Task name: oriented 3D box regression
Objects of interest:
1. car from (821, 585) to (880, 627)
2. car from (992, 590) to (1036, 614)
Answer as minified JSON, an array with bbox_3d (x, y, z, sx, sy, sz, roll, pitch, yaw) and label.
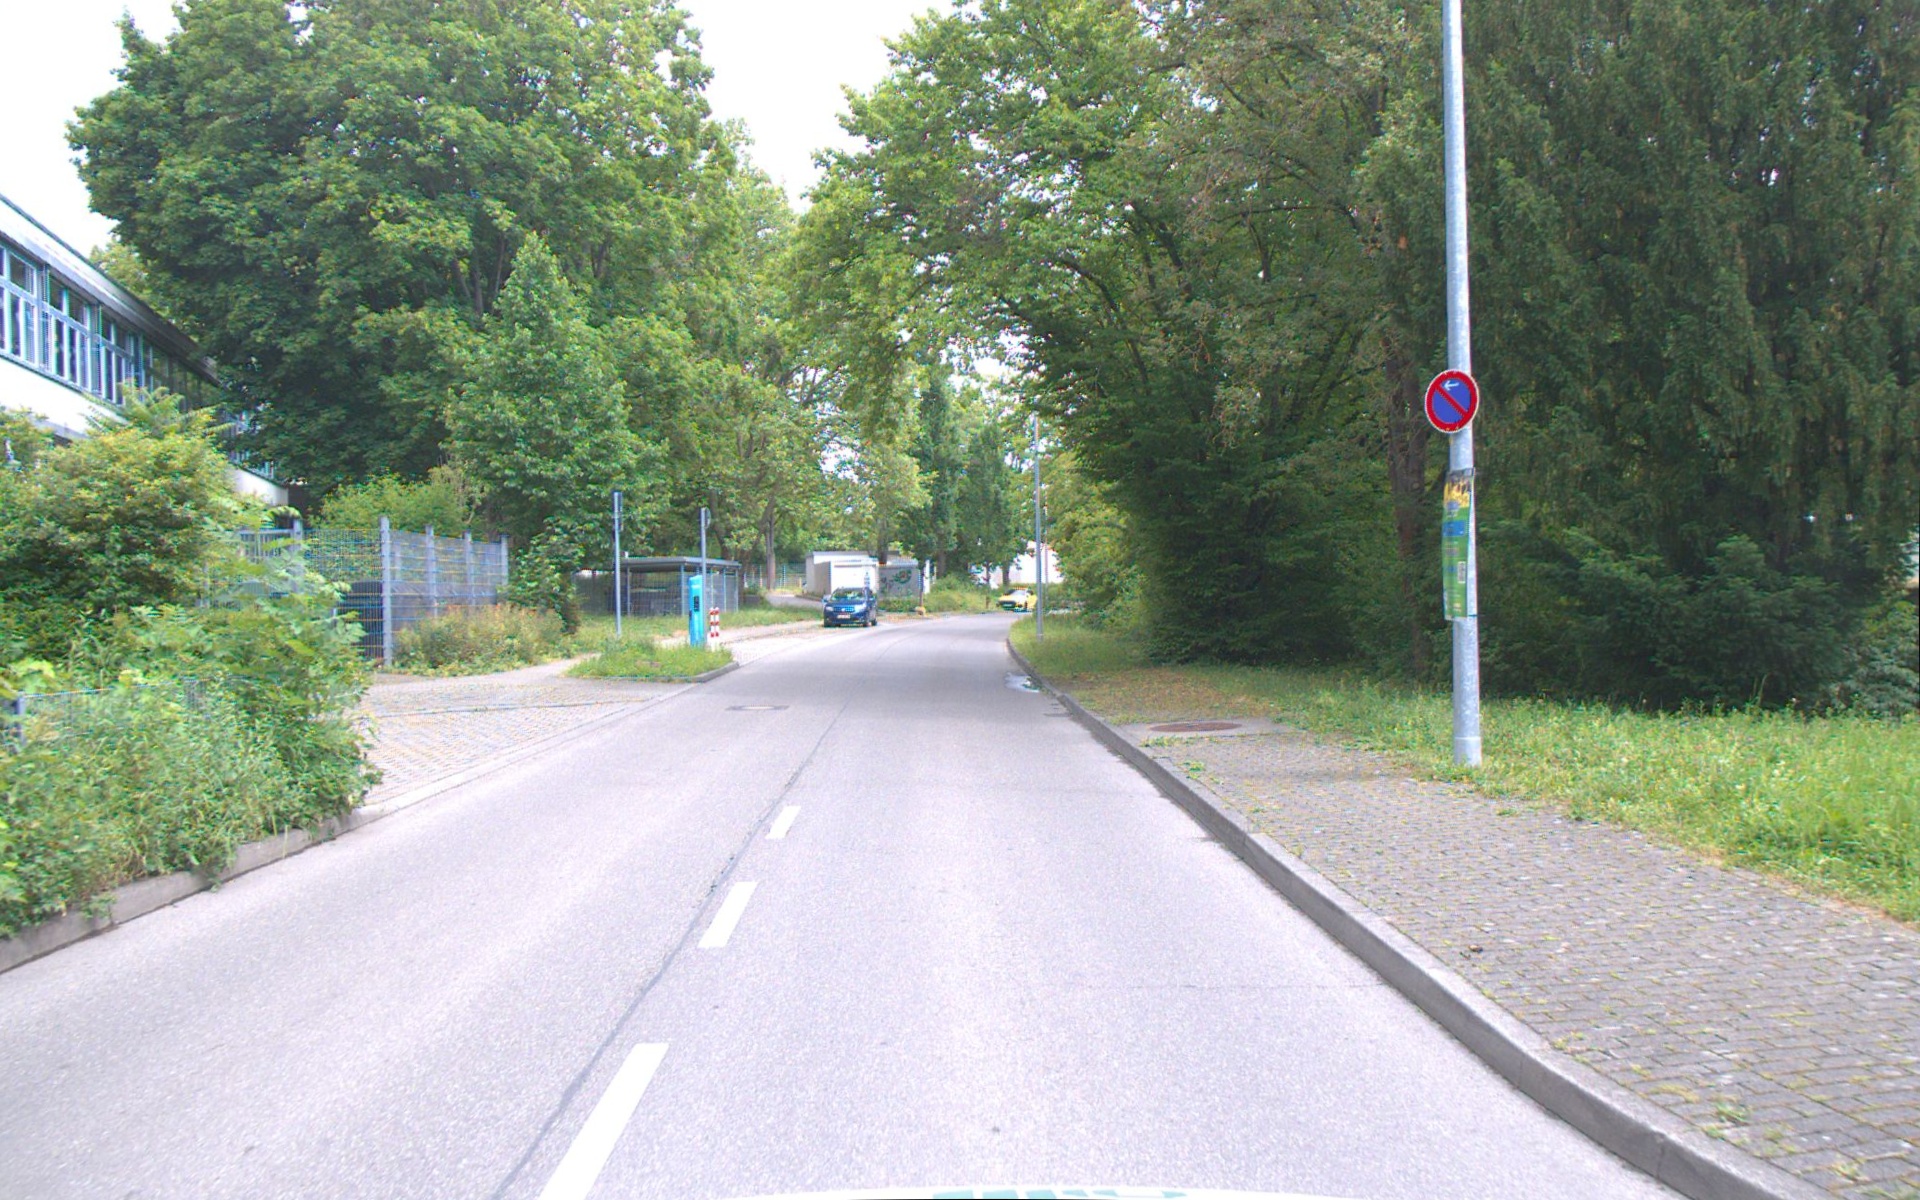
[{"bbox_3d":[-4.221,0.226,64.307,1.644,1.538,4.433,0,0,4],"label":"car"},{"bbox_3d":[3.337,0.114,101.887,1.664,1.427,4.276,0,0,17],"label":"car"}]
